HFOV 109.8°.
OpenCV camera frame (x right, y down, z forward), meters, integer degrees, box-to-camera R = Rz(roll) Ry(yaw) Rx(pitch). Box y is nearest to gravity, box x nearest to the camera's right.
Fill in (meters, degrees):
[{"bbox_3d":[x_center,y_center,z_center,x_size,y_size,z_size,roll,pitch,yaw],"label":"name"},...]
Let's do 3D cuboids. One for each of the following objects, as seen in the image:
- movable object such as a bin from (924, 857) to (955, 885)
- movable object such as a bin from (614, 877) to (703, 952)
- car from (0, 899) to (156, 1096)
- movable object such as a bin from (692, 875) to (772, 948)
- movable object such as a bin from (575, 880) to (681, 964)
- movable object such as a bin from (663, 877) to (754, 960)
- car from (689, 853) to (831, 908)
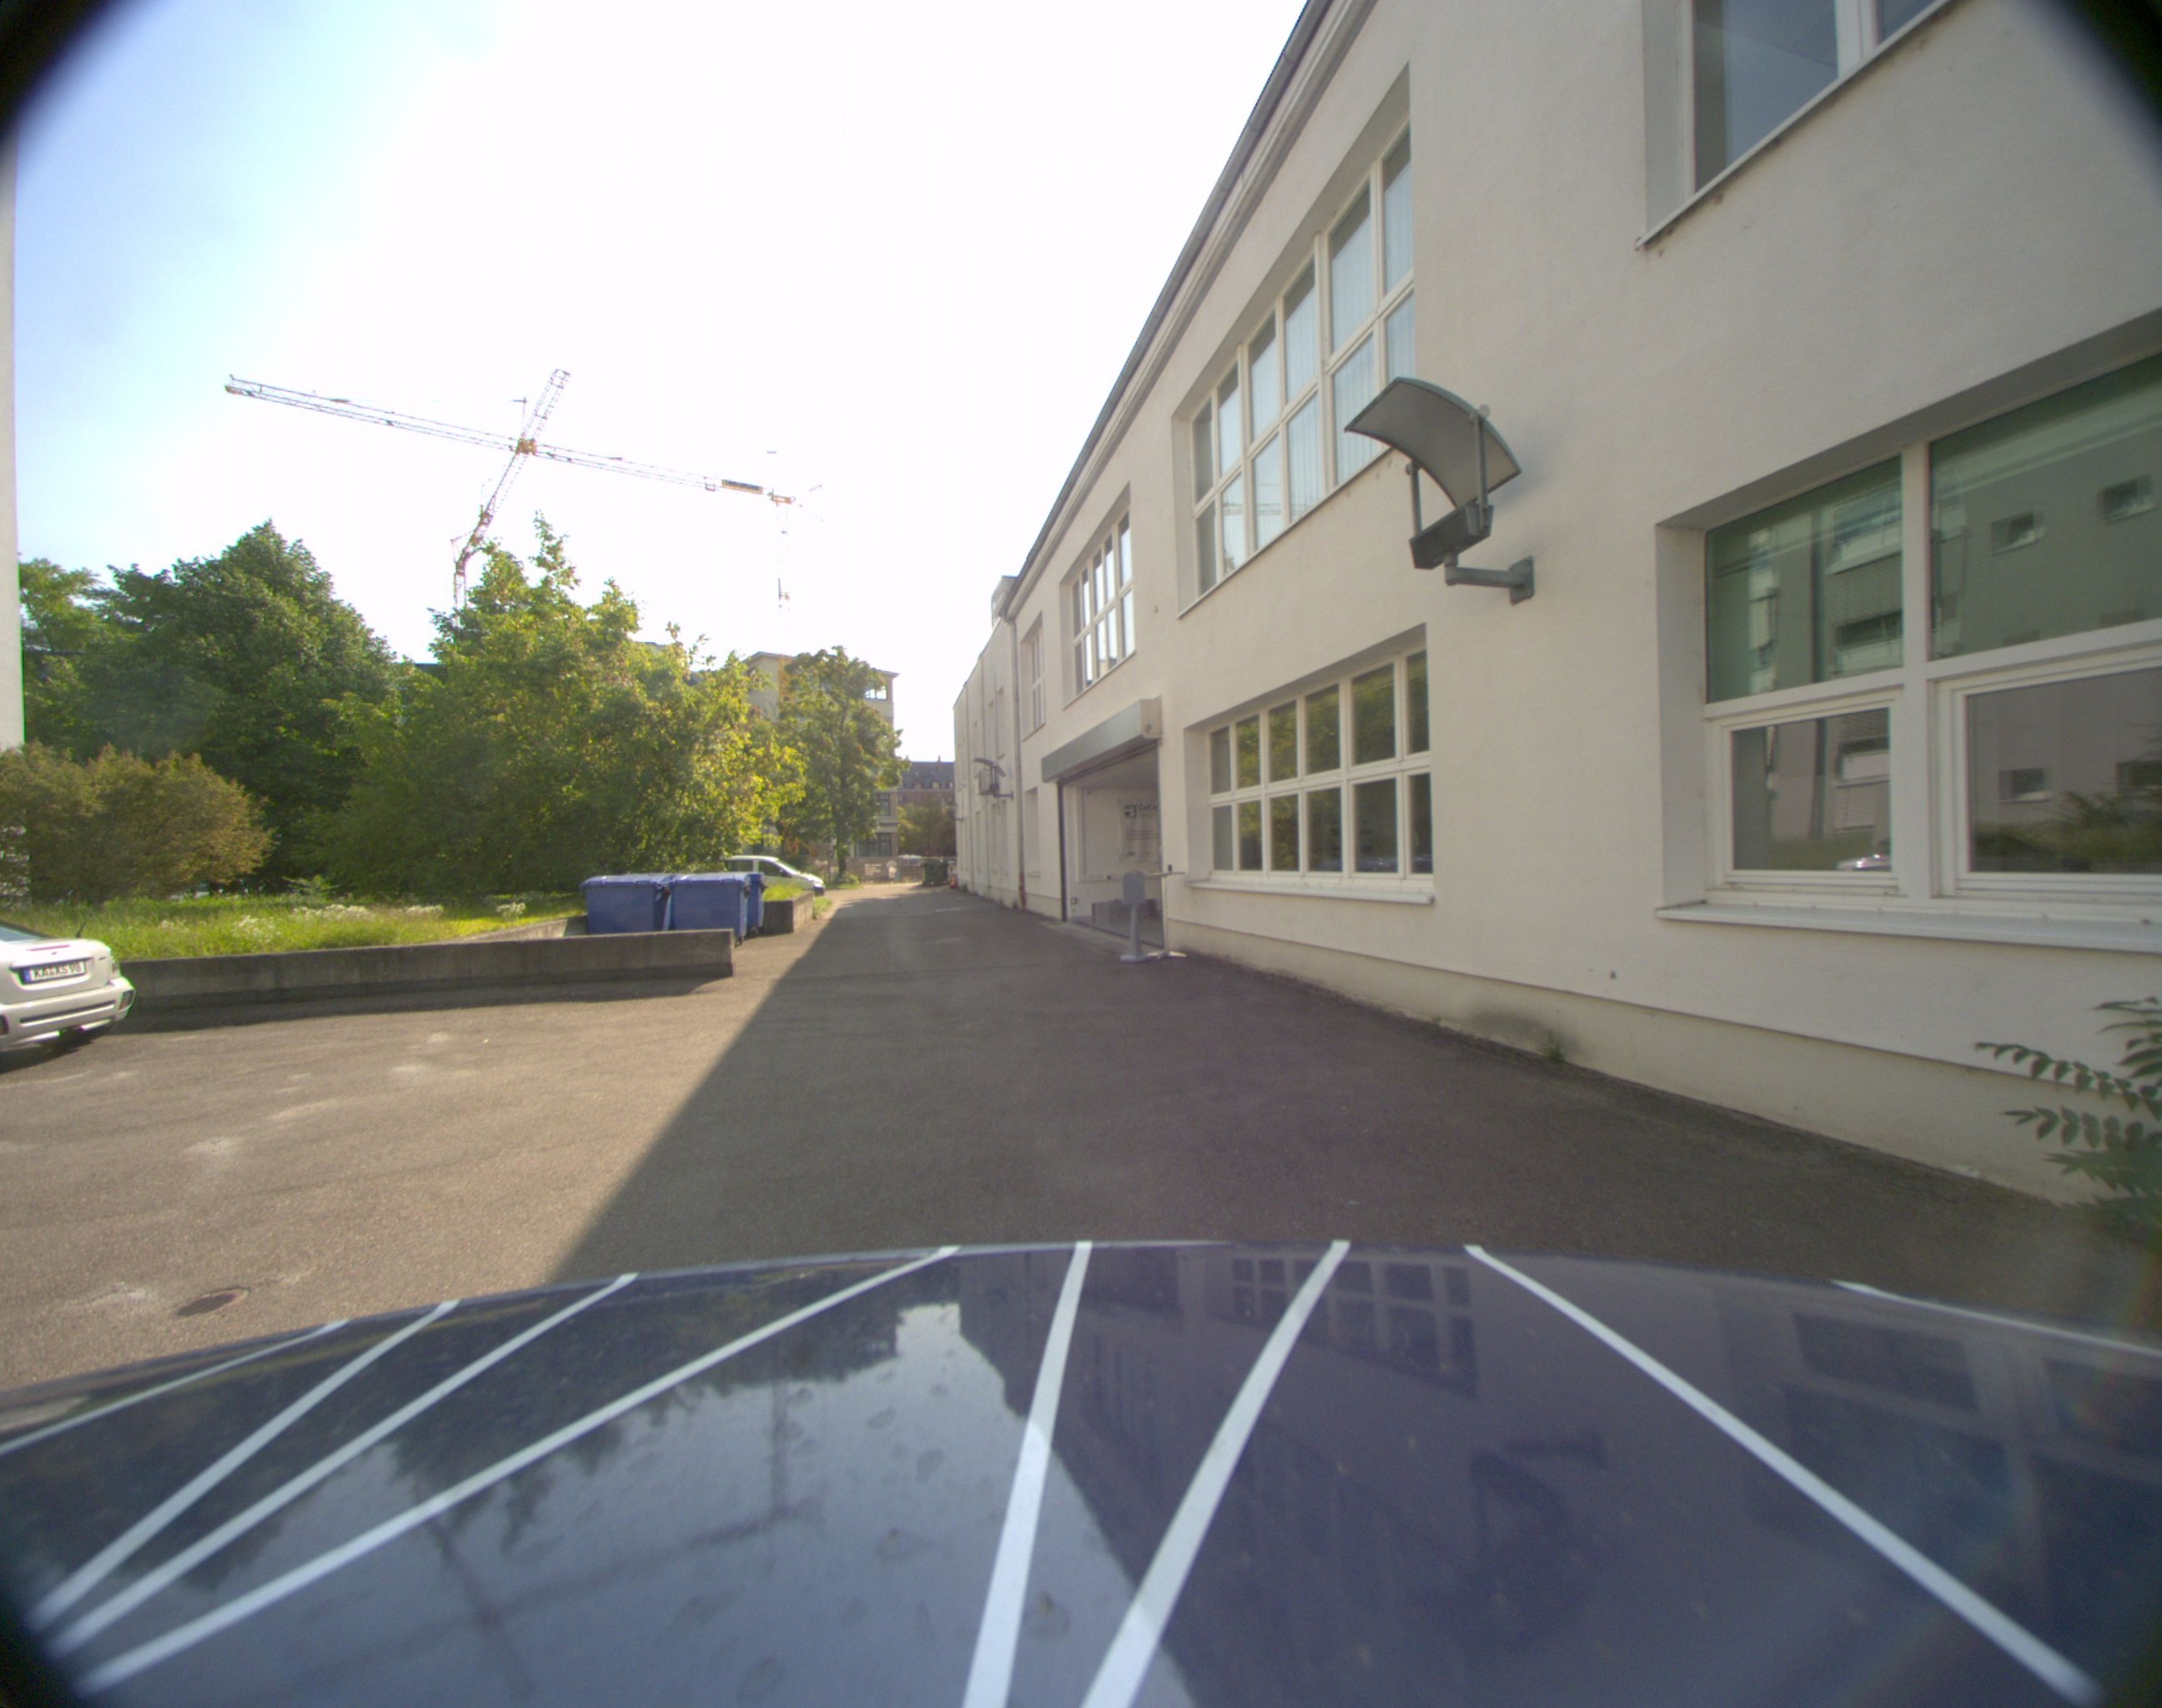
[{"bbox_3d":[-7.602,0.909,40.865,1.526,1.457,1.273,-2,1,-14],"label":"movable object such as a bin"},{"bbox_3d":[-8.305,1.163,15.020,1.201,1.320,1.273,-2,0,-14],"label":"movable object such as a bin"},{"bbox_3d":[-10.057,1.167,5.709,3.584,1.429,1.656,-1,0,-18],"label":"car"},{"bbox_3d":[-6.994,1.128,15.322,1.201,1.320,1.273,-2,0,-14],"label":"movable object such as a bin"},{"bbox_3d":[-7.984,1.162,13.480,1.258,1.320,1.273,-2,0,-14],"label":"movable object such as a bin"},{"bbox_3d":[-6.696,1.125,13.751,1.215,1.343,1.273,-2,0,-16],"label":"movable object such as a bin"},{"bbox_3d":[-12.459,0.995,29.798,4.795,1.920,1.907,-2,0,-13],"label":"car"}]
